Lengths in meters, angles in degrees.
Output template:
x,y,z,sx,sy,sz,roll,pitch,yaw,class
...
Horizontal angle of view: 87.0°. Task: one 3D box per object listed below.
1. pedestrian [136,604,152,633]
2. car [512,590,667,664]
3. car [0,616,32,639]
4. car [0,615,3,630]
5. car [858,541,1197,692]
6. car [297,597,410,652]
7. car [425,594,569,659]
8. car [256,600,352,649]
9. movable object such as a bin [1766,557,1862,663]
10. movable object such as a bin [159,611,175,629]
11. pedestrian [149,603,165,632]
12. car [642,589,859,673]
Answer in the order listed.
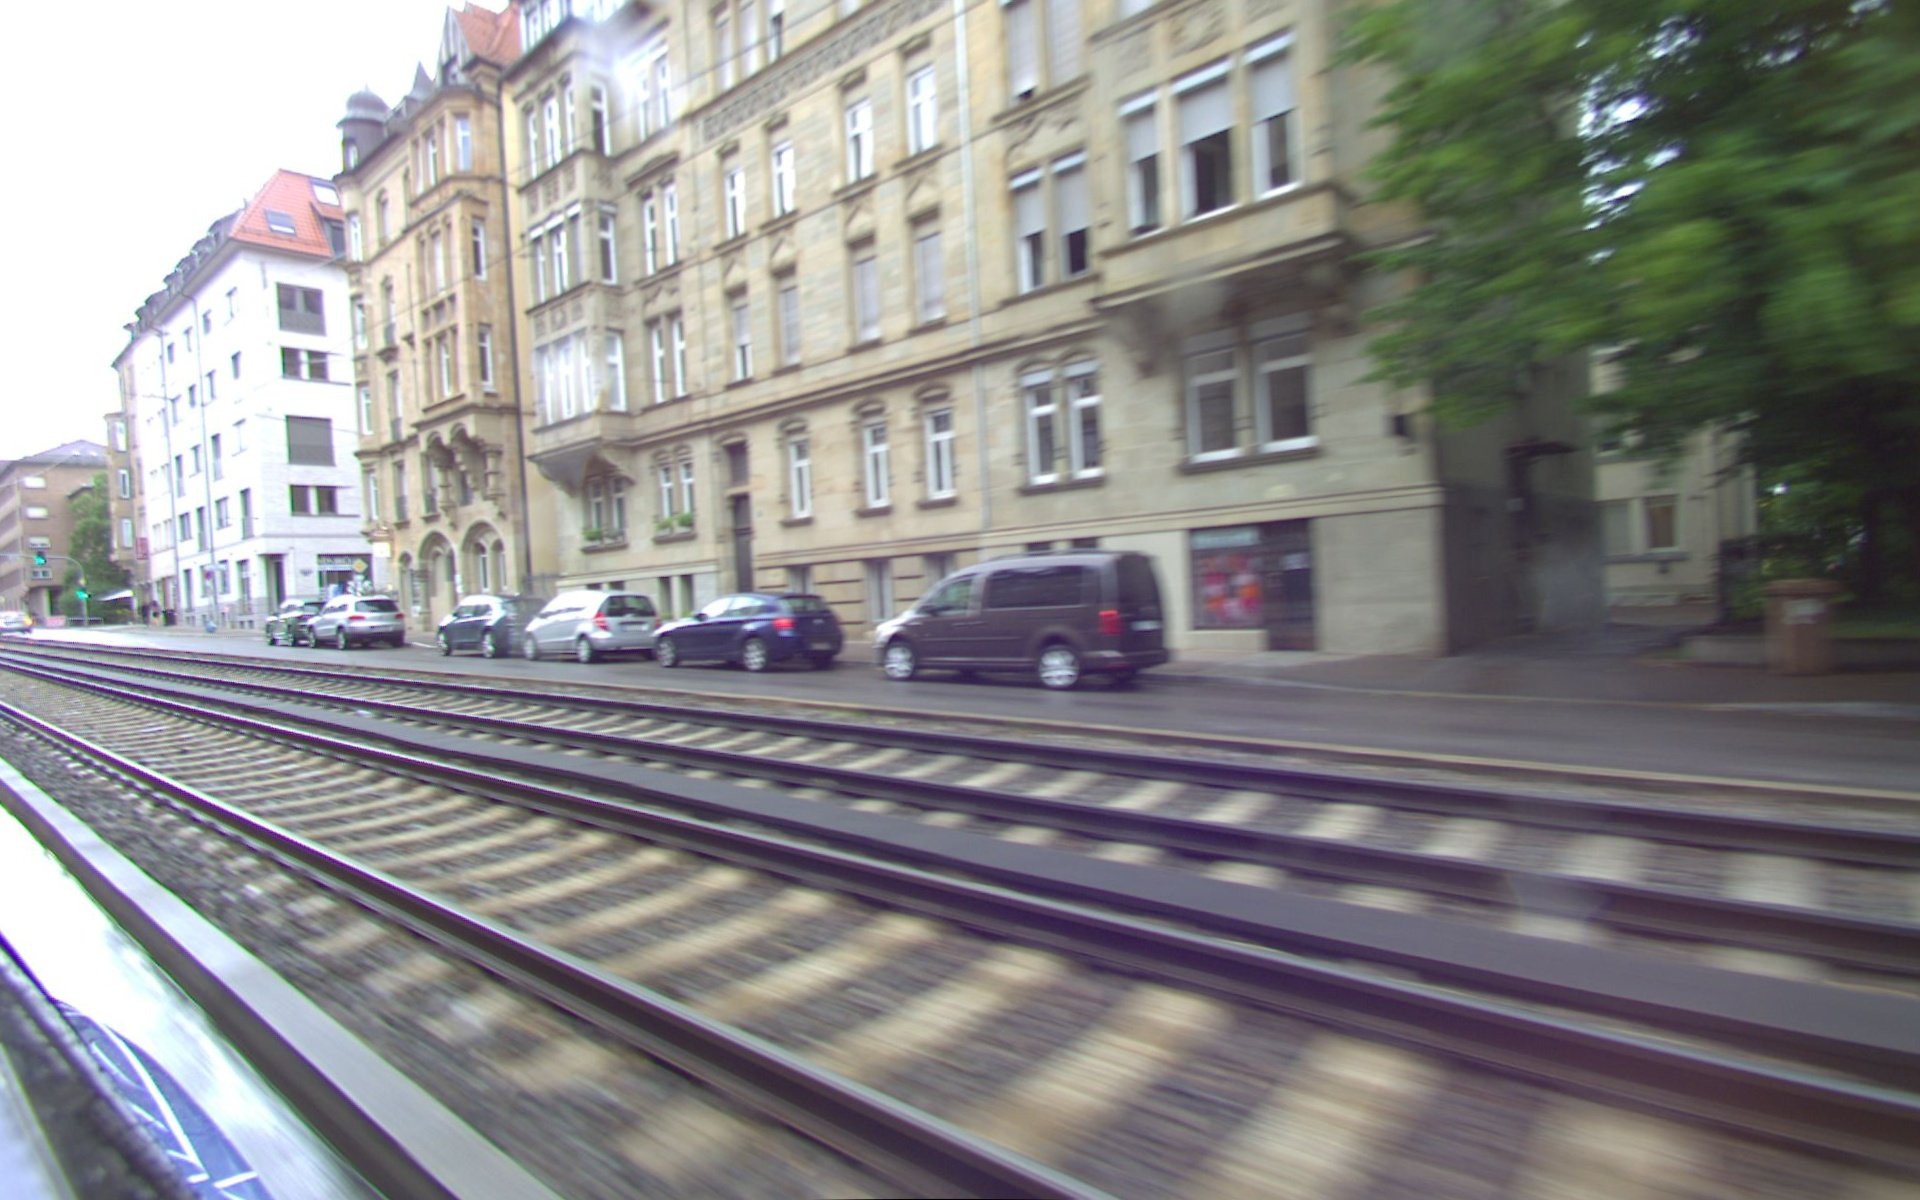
x,y,z,sx,sy,sz,roll,pitch,yaw,class
-51.266,1.165,63.587,0.746,1.730,0.595,-1,3,44,pedestrian
-8.432,0.578,22.904,3.854,1.535,1.677,-1,0,42,car
-62.522,1.811,66.368,4.291,1.468,1.961,-1,0,40,car
-94.125,2.218,98.133,3.781,1.398,1.686,-1,0,43,car
0.832,0.237,14.708,4.816,1.860,1.782,-1,-1,41,car
-19.813,0.786,33.011,4.312,1.665,1.840,-1,0,40,car
-12.034,0.663,26.196,4.167,1.519,1.851,-1,0,41,car
-23.496,0.864,36.188,4.430,1.614,1.838,-1,0,43,car
9.627,0.104,11.405,0.773,1.128,0.709,-1,1,43,movable object such as a bin
-50.618,1.266,64.589,0.563,1.088,0.623,-1,5,41,movable object such as a bin
-50.825,1.104,64.042,0.658,1.730,0.595,-1,3,44,pedestrian
-4.015,0.558,19.045,4.266,1.408,1.744,-1,0,40,car
